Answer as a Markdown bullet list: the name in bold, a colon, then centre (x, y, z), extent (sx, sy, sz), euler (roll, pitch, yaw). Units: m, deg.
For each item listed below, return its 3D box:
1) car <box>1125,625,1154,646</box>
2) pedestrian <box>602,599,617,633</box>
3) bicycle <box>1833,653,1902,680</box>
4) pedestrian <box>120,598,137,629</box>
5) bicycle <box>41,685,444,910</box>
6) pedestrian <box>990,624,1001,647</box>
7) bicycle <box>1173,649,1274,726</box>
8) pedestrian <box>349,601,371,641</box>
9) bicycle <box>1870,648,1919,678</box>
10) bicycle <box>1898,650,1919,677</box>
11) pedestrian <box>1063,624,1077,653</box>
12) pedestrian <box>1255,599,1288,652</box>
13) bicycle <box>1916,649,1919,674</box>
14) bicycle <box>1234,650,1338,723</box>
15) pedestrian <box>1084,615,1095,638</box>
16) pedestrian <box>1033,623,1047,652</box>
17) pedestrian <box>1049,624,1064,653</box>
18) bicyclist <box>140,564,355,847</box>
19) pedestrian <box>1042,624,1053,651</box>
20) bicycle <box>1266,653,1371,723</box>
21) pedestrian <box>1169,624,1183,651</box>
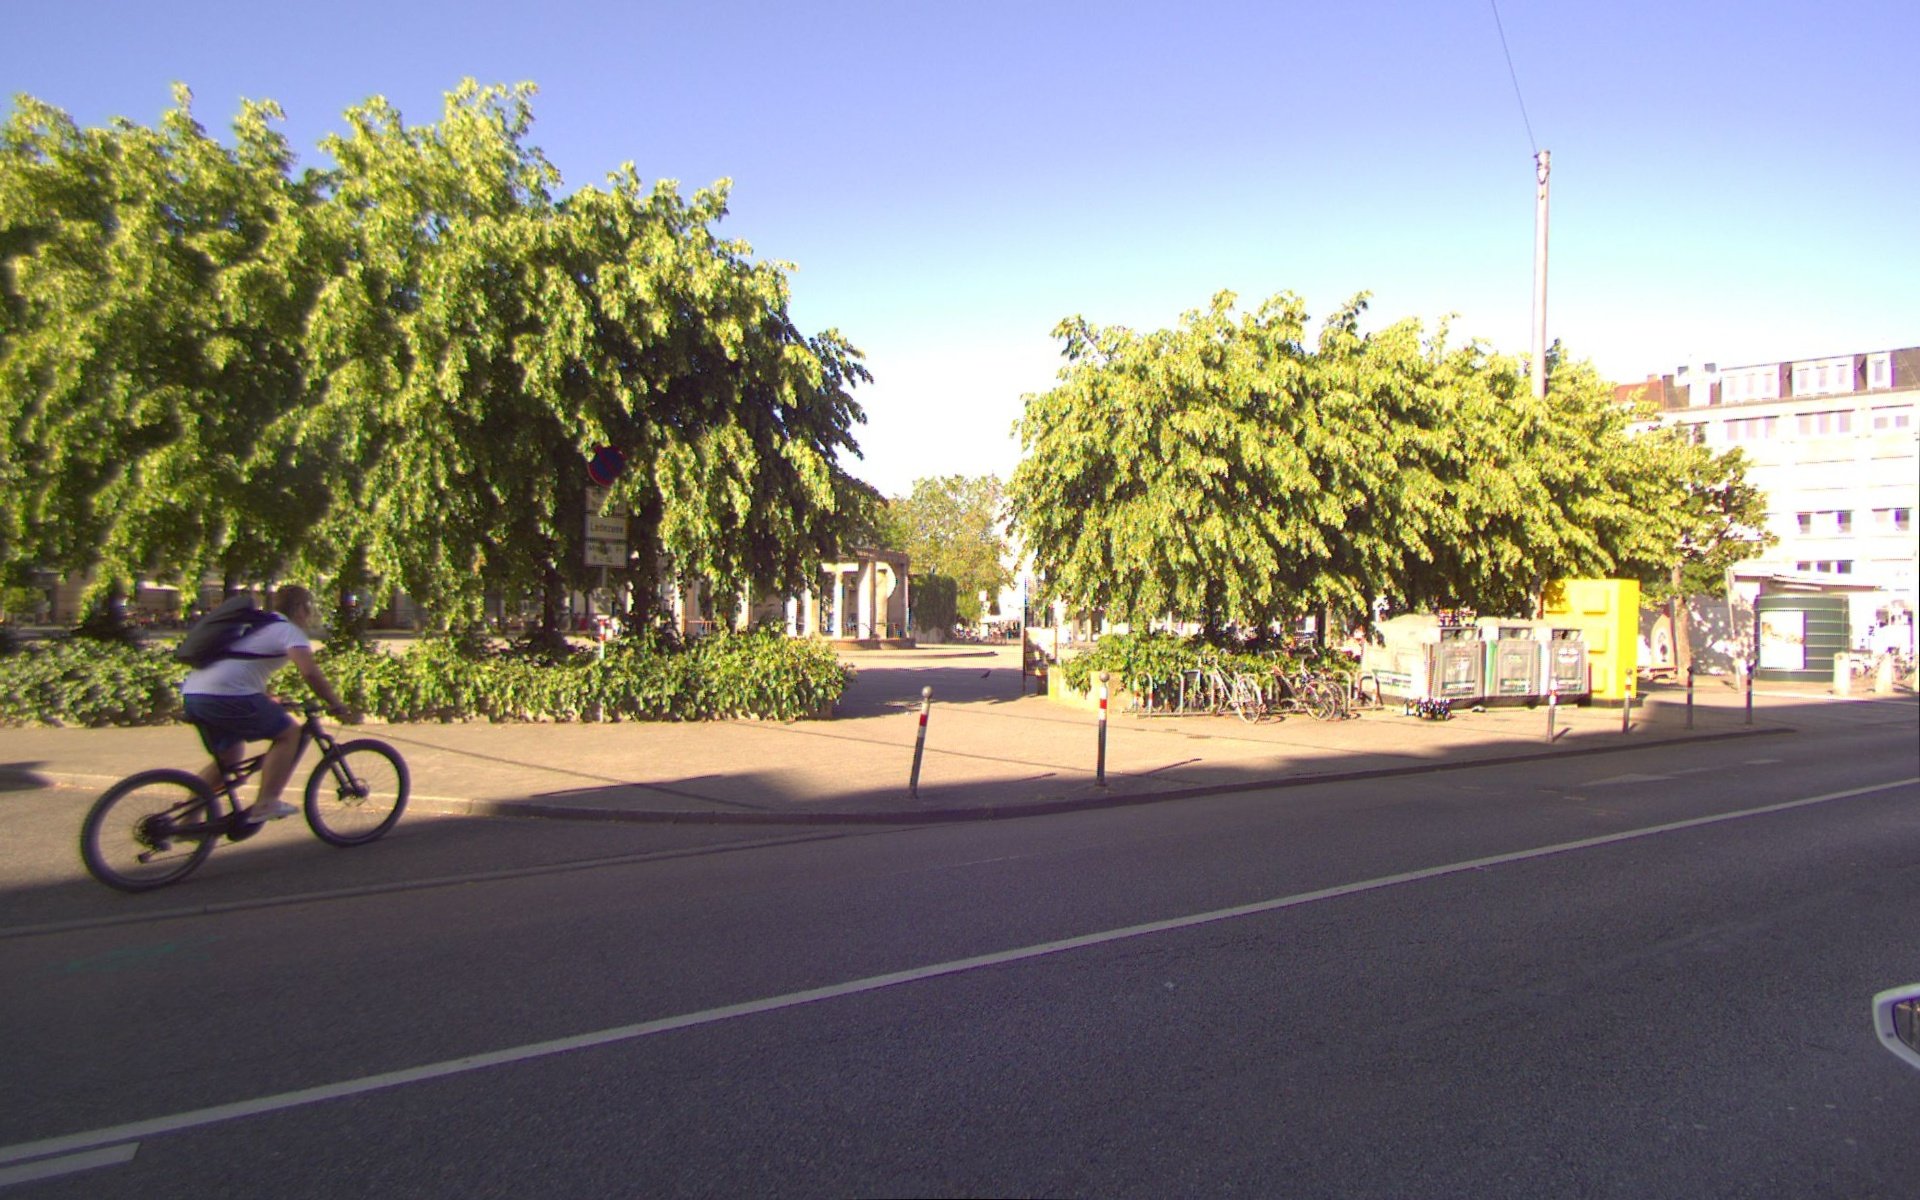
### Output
- **car**: centre (12.393, 2.431, 69.519), extent (1.658, 1.405, 3.575), euler (1, -1, 5)
- **pedestrian**: centre (-20.512, 0.913, 58.799), extent (0.669, 1.974, 0.634), euler (2, 0, -33)
- **bicycle**: centre (30.817, 2.246, 34.122), extent (0.600, 0.802, 1.634), euler (2, 0, -33)
- **pedestrian**: centre (-47.883, 0.795, 57.850), extent (0.600, 1.744, 0.643), euler (2, 0, 45)
- **bicycle**: centre (-4.515, 1.166, 6.541), extent (0.629, 1.099, 2.059), euler (1, -1, 27)
- **pedestrian**: centre (3.170, 3.147, 89.160), extent (0.860, 2.040, 0.902), euler (2, 0, -5)
- **bicycle**: centre (4.067, 1.327, 15.650), extent (0.508, 1.029, 1.930), euler (2, 0, -19)
- **pedestrian**: centre (-26.601, 0.919, 44.526), extent (0.599, 1.744, 0.644), euler (2, 0, 37)
- **bicycle**: centre (33.167, 2.210, 35.134), extent (0.599, 0.946, 1.854), euler (2, 0, -30)
- **bicycle**: centre (35.057, 2.332, 36.109), extent (0.599, 0.946, 1.854), euler (2, 0, -30)
- **pedestrian**: centre (7.958, 2.765, 72.706), extent (0.860, 2.040, 0.902), euler (2, 0, -5)
- **pedestrian**: centre (12.116, 0.987, 39.081), extent (0.875, 2.040, 0.896), euler (1, 0, -17)
- **bicycle**: centre (37.063, 2.355, 37.532), extent (0.599, 0.946, 1.854), euler (2, 0, -30)
- **bicycle**: centre (5.225, 1.367, 16.238), extent (0.508, 1.016, 1.923), euler (2, 0, -20)
- **pedestrian**: centre (12.794, 2.650, 99.570), extent (0.860, 2.199, 0.902), euler (2, 0, -5)
- **pedestrian**: centre (5.843, 2.729, 73.527), extent (0.860, 2.040, 0.902), euler (2, 0, -5)
- **pedestrian**: centre (6.979, 2.757, 72.643), extent (0.860, 2.040, 0.902), euler (2, 0, -5)
- **bicyclist**: centre (-4.555, 0.626, 6.443), extent (0.869, 1.656, 0.768), euler (1, -1, 27)
- **pedestrian**: centre (6.561, 2.822, 75.423), extent (0.628, 1.974, 0.676), euler (2, 0, -7)
- **bicycle**: centre (5.822, 1.403, 16.412), extent (0.508, 0.968, 1.898), euler (2, 0, -20)
- **pedestrian**: centre (14.219, 2.435, 66.150), extent (0.741, 1.740, 0.854), euler (1, -1, 4)
